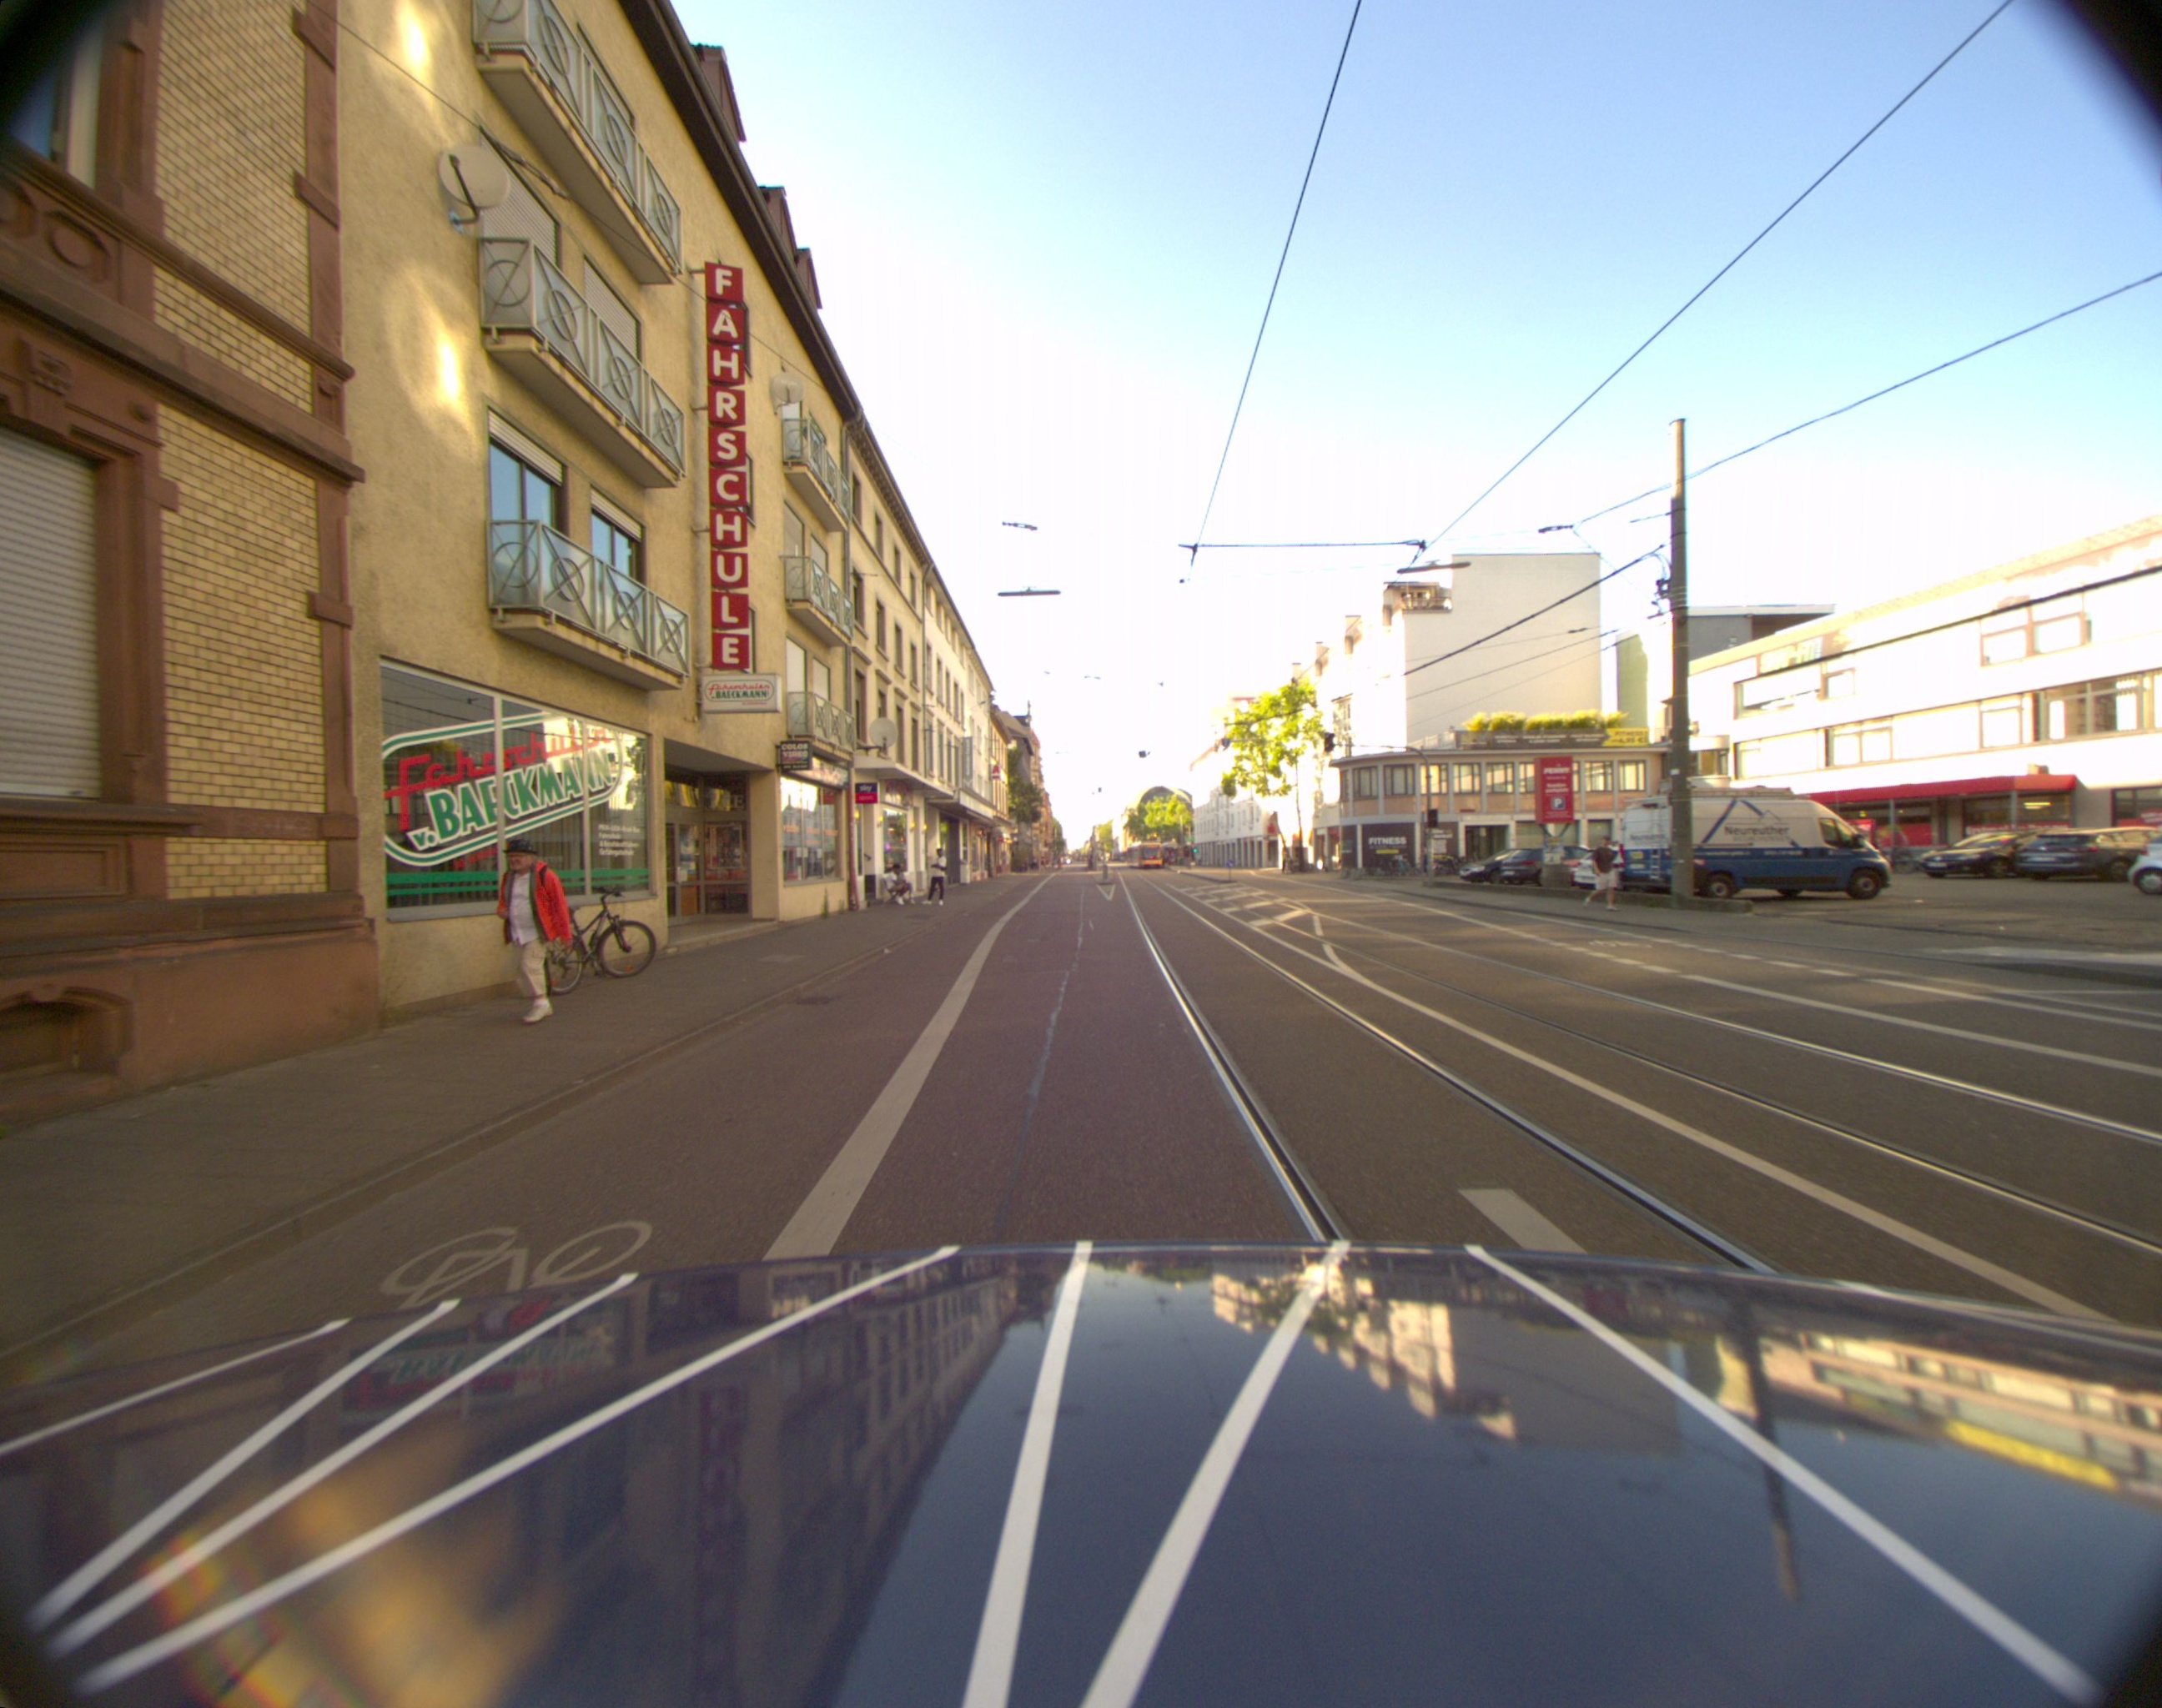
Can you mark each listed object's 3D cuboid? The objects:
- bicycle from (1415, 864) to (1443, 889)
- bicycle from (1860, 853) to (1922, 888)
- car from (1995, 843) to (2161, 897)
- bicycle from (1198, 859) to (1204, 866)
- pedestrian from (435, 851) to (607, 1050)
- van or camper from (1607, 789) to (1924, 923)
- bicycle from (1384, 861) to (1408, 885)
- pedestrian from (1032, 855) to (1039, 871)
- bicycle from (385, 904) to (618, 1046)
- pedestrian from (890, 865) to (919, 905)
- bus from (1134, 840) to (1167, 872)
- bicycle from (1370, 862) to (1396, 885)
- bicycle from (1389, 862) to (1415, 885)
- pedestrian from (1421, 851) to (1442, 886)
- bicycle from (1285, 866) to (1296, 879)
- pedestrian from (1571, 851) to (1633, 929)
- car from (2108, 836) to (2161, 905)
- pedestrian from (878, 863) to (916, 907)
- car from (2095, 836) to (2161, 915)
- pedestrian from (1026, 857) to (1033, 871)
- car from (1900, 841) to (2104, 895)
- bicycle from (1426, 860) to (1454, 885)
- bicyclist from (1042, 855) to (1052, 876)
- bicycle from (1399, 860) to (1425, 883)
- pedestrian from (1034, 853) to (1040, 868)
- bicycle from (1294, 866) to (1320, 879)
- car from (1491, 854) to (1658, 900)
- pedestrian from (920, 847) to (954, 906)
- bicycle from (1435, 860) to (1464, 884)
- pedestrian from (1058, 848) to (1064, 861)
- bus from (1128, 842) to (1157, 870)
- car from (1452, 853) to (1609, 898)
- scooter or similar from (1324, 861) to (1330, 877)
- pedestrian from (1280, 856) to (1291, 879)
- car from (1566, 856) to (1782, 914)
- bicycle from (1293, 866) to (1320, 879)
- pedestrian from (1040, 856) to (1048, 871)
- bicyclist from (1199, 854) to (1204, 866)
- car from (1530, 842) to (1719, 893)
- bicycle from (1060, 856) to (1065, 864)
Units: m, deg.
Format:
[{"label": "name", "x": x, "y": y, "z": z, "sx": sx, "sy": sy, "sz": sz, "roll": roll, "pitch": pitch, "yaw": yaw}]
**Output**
[{"label": "bicycle", "x": 17.345, "y": 1.120, "z": 37.878, "sx": 0.449, "sy": 1.180, "sz": 1.831, "roll": -1, "pitch": 0, "yaw": -3}, {"label": "bicycle", "x": 28.858, "y": 0.583, "z": 27.116, "sx": 0.432, "sy": 1.180, "sz": 1.832, "roll": -1, "pitch": 1, "yaw": 7}, {"label": "car", "x": 28.620, "y": 0.417, "z": 21.193, "sx": 3.998, "sy": 1.346, "sz": 1.999, "roll": -1, "pitch": 0, "yaw": -2}, {"label": "bicycle", "x": 17.889, "y": 1.268, "z": 113.189, "sx": 0.518, "sy": 0.983, "sz": 1.727, "roll": -3, "pitch": 0, "yaw": 1}, {"label": "pedestrian", "x": -5.010, "y": 0.824, "z": 6.854, "sx": 0.799, "sy": 1.618, "sz": 0.826, "roll": 4, "pitch": -1, "yaw": 6}, {"label": "van or camper", "x": 16.747, "y": 0.059, "z": 18.872, "sx": 5.620, "sy": 2.810, "sz": 2.315, "roll": -3, "pitch": 0, "yaw": 1}, {"label": "bicycle", "x": 16.063, "y": 0.953, "z": 38.767, "sx": 0.441, "sy": 1.180, "sz": 1.831, "roll": -1, "pitch": 0, "yaw": -1}, {"label": "pedestrian", "x": -5.145, "y": 1.017, "z": 85.934, "sx": 0.651, "sy": 1.706, "sz": 0.805, "roll": -1, "pitch": 1, "yaw": -7}, {"label": "bicycle", "x": -5.658, "y": 1.110, "z": 7.649, "sx": 0.556, "sy": 1.055, "sz": 2.311, "roll": 1, "pitch": 0, "yaw": 0}, {"label": "pedestrian", "x": -5.573, "y": 0.974, "z": 23.976, "sx": 0.708, "sy": 1.168, "sz": 1.014, "roll": 5, "pitch": 0, "yaw": -19}, {"label": "bus", "x": 8.218, "y": 0.245, "z": 91.742, "sx": 2.818, "sy": 3.546, "sz": 13.678, "roll": -1, "pitch": 0, "yaw": 1}, {"label": "bicycle", "x": 15.549, "y": 0.990, "z": 39.172, "sx": 0.447, "sy": 1.180, "sz": 1.830, "roll": -1, "pitch": 0, "yaw": -6}, {"label": "bicycle", "x": 16.412, "y": 0.988, "z": 38.883, "sx": 0.449, "sy": 1.180, "sz": 1.831, "roll": -1, "pitch": 0, "yaw": -3}, {"label": "pedestrian", "x": 17.438, "y": 0.727, "z": 37.831, "sx": 0.682, "sy": 1.687, "sz": 0.683, "roll": -1, "pitch": 0, "yaw": -2}, {"label": "bicycle", "x": 16.136, "y": 1.443, "z": 58.544, "sx": 0.389, "sy": 0.907, "sz": 1.851, "roll": -3, "pitch": 0, "yaw": 1}, {"label": "pedestrian", "x": 12.506, "y": 0.851, "z": 18.249, "sx": 0.835, "sy": 1.821, "sz": 0.909, "roll": -1, "pitch": 0, "yaw": -1}, {"label": "car", "x": 28.680, "y": 0.372, "z": 18.795, "sx": 3.998, "sy": 1.691, "sz": 1.999, "roll": -1, "pitch": 0, "yaw": -2}, {"label": "pedestrian", "x": -5.550, "y": 0.926, "z": 22.932, "sx": 0.832, "sy": 1.248, "sz": 0.705, "roll": 5, "pitch": 0, "yaw": -35}, {"label": "car", "x": 24.608, "y": 0.451, "z": 15.619, "sx": 1.999, "sy": 1.726, "sz": 4.120, "roll": -1, "pitch": 0, "yaw": -2}, {"label": "pedestrian", "x": -5.838, "y": 1.134, "z": 85.813, "sx": 0.651, "sy": 1.569, "sz": 0.682, "roll": -1, "pitch": 1, "yaw": -7}, {"label": "car", "x": 28.254, "y": 0.399, "z": 23.406, "sx": 3.998, "sy": 1.499, "sz": 1.999, "roll": -1, "pitch": 0, "yaw": -2}, {"label": "bicycle", "x": 17.922, "y": 0.908, "z": 37.984, "sx": 0.449, "sy": 1.180, "sz": 1.831, "roll": -1, "pitch": 0, "yaw": -3}, {"label": "bicyclist", "x": -2.619, "y": 0.857, "z": 58.426, "sx": 0.677, "sy": 1.604, "sz": 0.837, "roll": -2, "pitch": 1, "yaw": -2}, {"label": "bicycle", "x": 16.861, "y": 0.882, "z": 38.757, "sx": 0.444, "sy": 1.180, "sz": 1.831, "roll": -1, "pitch": 0, "yaw": -3}, {"label": "pedestrian", "x": -5.340, "y": 0.739, "z": 91.700, "sx": 0.650, "sy": 1.760, "sz": 0.697, "roll": -1, "pitch": 1, "yaw": 5}, {"label": "bicycle", "x": 17.339, "y": 1.418, "z": 58.318, "sx": 1.849, "sy": 0.907, "sz": 0.390, "roll": -3, "pitch": -2, "yaw": 5}, {"label": "car", "x": 17.103, "y": 0.792, "z": 26.482, "sx": 4.600, "sy": 1.466, "sz": 1.879, "roll": -1, "pitch": 0, "yaw": 0}, {"label": "pedestrian", "x": -4.620, "y": 0.718, "z": 24.408, "sx": 0.705, "sy": 1.801, "sz": 0.680, "roll": 5, "pitch": 0, "yaw": 15}, {"label": "bicycle", "x": 18.515, "y": 0.886, "z": 38.231, "sx": 0.449, "sy": 1.180, "sz": 1.831, "roll": -1, "pitch": 0, "yaw": -3}, {"label": "pedestrian", "x": -2.761, "y": 0.016, "z": 105.329, "sx": 0.694, "sy": 1.760, "sz": 0.697, "roll": -1, "pitch": 1, "yaw": 5}, {"label": "bus", "x": 8.368, "y": 0.203, "z": 105.028, "sx": 2.818, "sy": 3.546, "sz": 13.678, "roll": -1, "pitch": 0, "yaw": 0}, {"label": "car", "x": 17.188, "y": 0.816, "z": 29.217, "sx": 4.907, "sy": 1.574, "sz": 1.879, "roll": -1, "pitch": 0, "yaw": 0}, {"label": "scooter or similar", "x": 18.163, "y": 1.108, "z": 56.052, "sx": 0.335, "sy": 1.105, "sz": 1.182, "roll": -1, "pitch": 1, "yaw": 23}, {"label": "pedestrian", "x": 15.915, "y": 1.056, "z": 59.189, "sx": 0.630, "sy": 1.706, "sz": 0.826, "roll": -1, "pitch": 1, "yaw": 27}, {"label": "car", "x": 16.578, "y": 0.845, "z": 21.403, "sx": 4.600, "sy": 1.466, "sz": 1.879, "roll": -1, "pitch": 0, "yaw": 0}, {"label": "bicycle", "x": 16.998, "y": 1.370, "z": 57.350, "sx": 1.849, "sy": 0.907, "sz": 0.389, "roll": -3, "pitch": 1, "yaw": 5}, {"label": "pedestrian", "x": -4.286, "y": 1.114, "z": 88.413, "sx": 0.807, "sy": 1.789, "sz": 0.761, "roll": -1, "pitch": 1, "yaw": 0}, {"label": "bicyclist", "x": 17.902, "y": 0.882, "z": 113.139, "sx": 0.514, "sy": 1.690, "sz": 0.807, "roll": -3, "pitch": 1, "yaw": 1}, {"label": "car", "x": 17.052, "y": 0.429, "z": 23.991, "sx": 4.600, "sy": 1.466, "sz": 1.879, "roll": -1, "pitch": 0, "yaw": 0}, {"label": "bicycle", "x": -2.751, "y": 0.958, "z": 114.507, "sx": 0.682, "sy": 1.164, "sz": 1.831, "roll": -2, "pitch": 0, "yaw": -2}]
